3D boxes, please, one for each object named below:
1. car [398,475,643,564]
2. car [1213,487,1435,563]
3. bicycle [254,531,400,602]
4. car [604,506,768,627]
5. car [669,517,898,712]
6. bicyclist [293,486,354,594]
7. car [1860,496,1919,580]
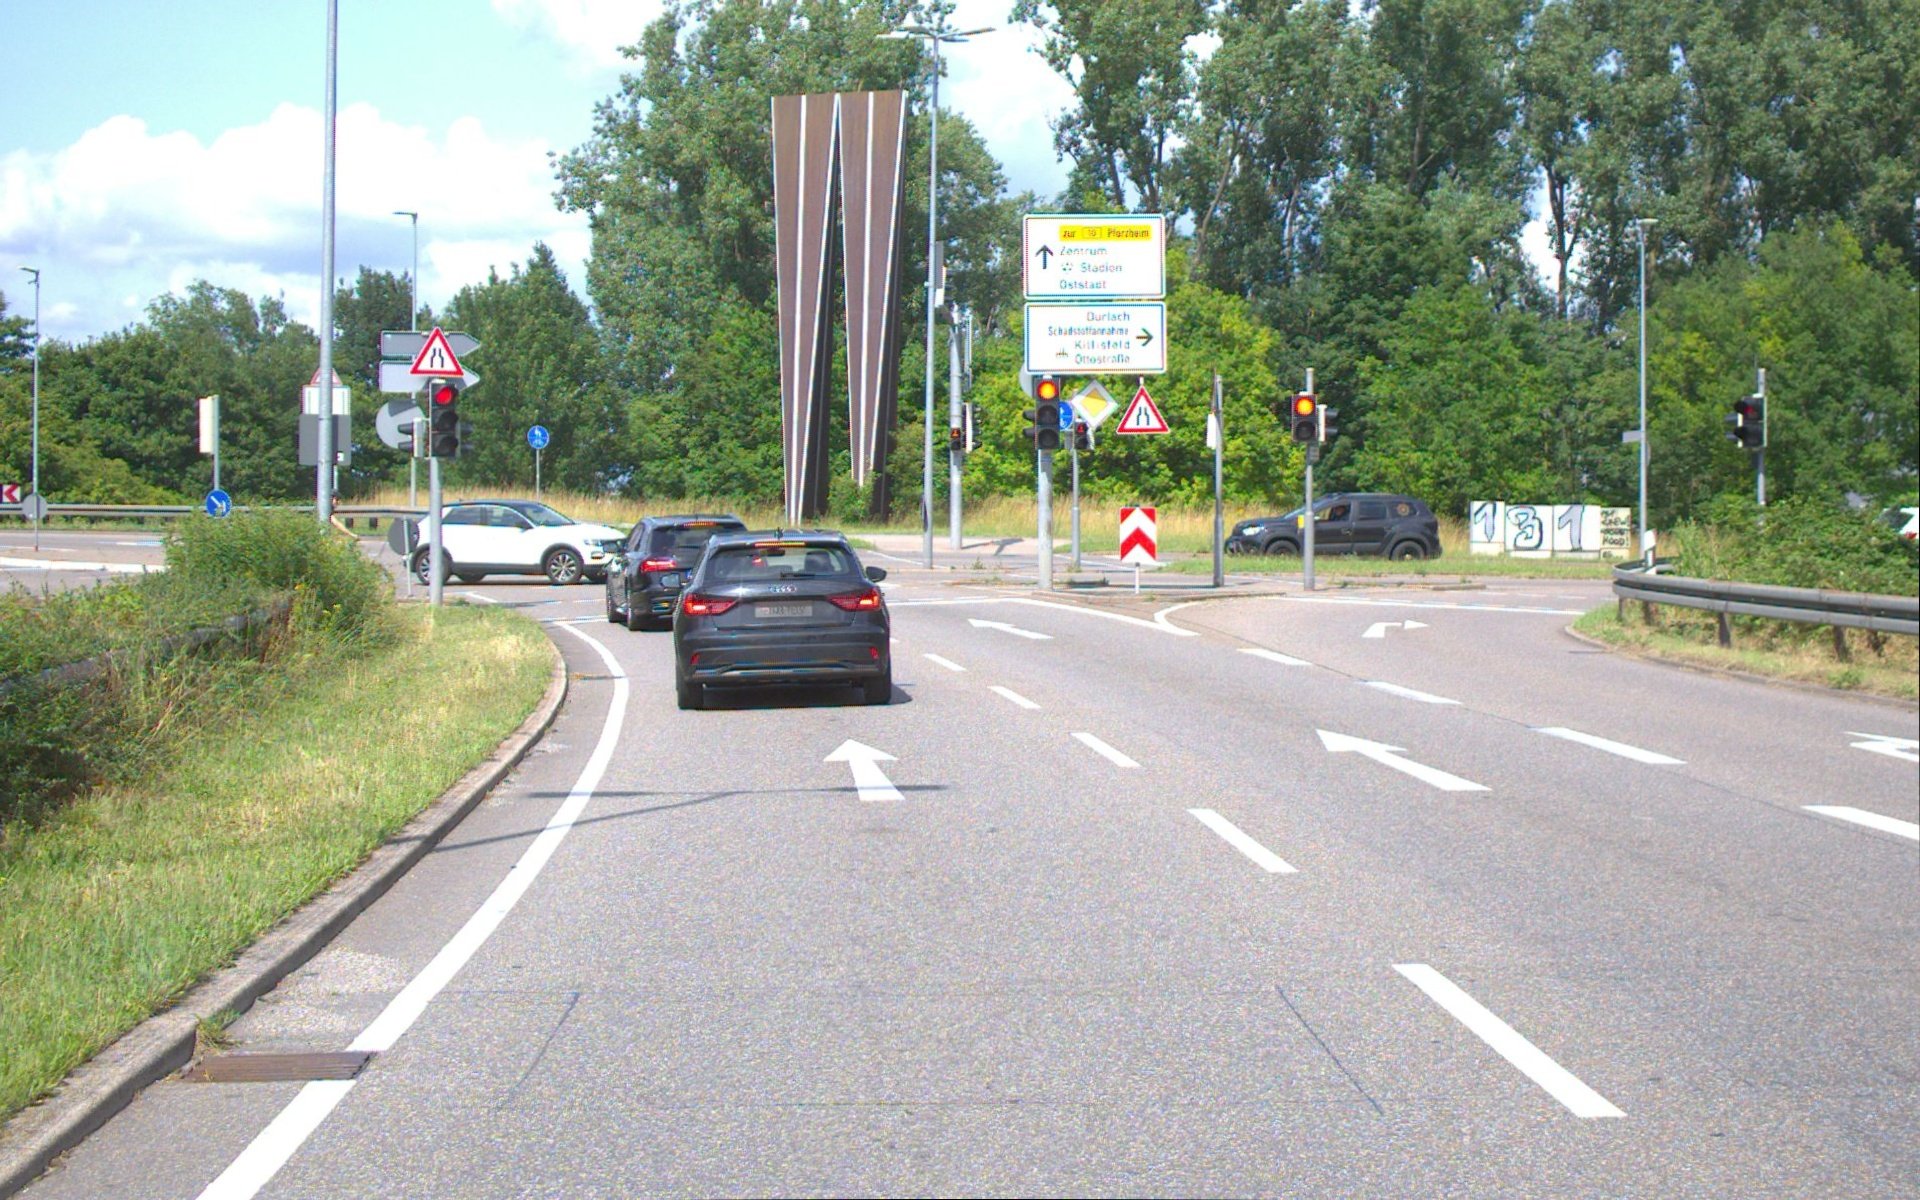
[{"bbox_3d":[-8.016,-1.473,62.787,4.036,1.471,1.736,2,1,16],"label":"car"},{"bbox_3d":[7.468,-1.557,70.759,4.267,1.539,1.737,0,2,-6],"label":"car"},{"bbox_3d":[-9.213,-0.496,50.004,2.052,1.020,0.672,0,1,-13],"label":"bicycle"},{"bbox_3d":[-3.619,-0.475,44.906,1.726,1.418,3.846,-2,2,-10],"label":"car"},{"bbox_3d":[-1.521,0.065,28.712,1.726,1.399,4.001,-2,2,-4],"label":"car"},{"bbox_3d":[-9.261,-0.874,49.987,0.834,1.555,0.672,0,1,-13],"label":"bicyclist"},{"bbox_3d":[19.171,-1.094,64.298,4.023,1.504,1.957,2,0,-12],"label":"car"}]
